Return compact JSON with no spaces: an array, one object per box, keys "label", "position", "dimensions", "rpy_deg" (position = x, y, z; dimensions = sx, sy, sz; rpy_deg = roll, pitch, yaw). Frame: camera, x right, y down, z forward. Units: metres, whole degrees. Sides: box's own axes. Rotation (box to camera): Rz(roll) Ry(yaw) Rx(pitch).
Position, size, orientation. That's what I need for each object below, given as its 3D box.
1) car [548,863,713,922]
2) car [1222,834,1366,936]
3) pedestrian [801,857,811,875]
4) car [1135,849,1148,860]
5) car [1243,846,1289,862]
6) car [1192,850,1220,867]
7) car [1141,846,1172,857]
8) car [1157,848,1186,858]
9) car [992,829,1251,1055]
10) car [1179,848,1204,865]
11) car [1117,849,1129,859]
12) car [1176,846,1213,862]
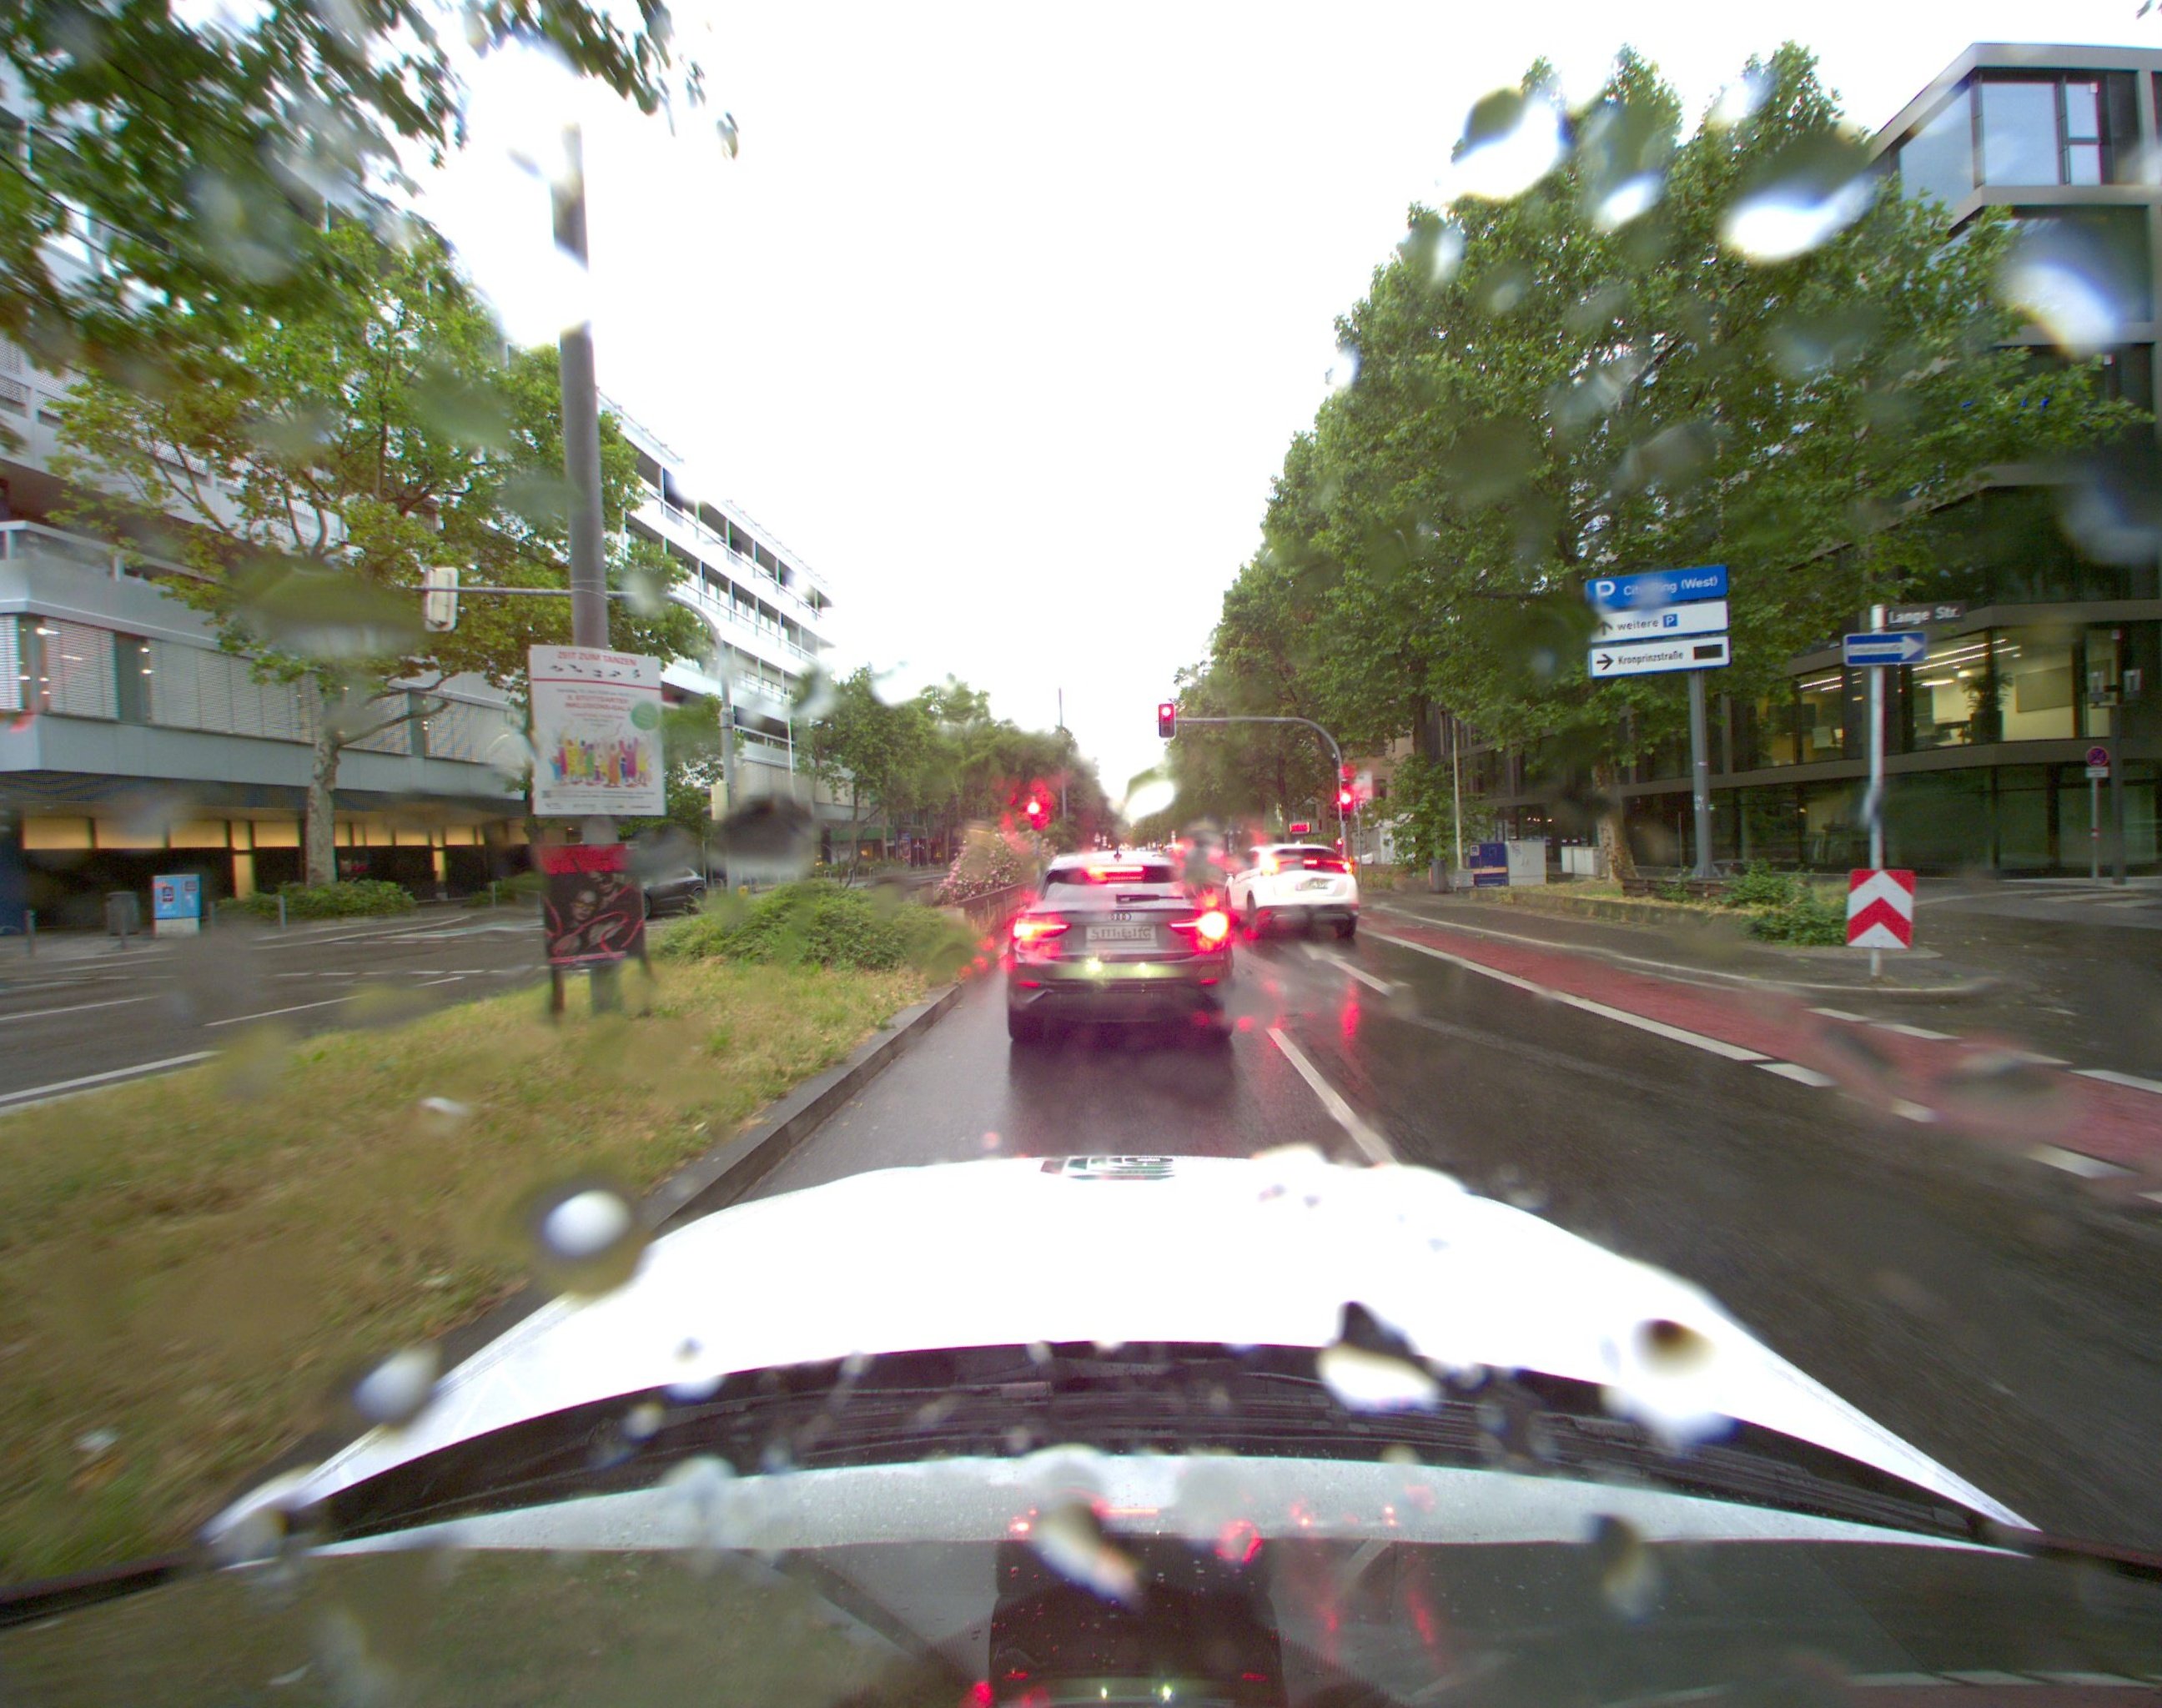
[{"label":"car","position":[-13.245,1.066,24.364],"dimensions":[1.900,1.584,4.755],"rpy_deg":[0,-1,6]},{"label":"car","position":[3.889,0.532,15.539],"dimensions":[1.870,1.697,4.003],"rpy_deg":[0,-1,3]},{"label":"pedestrian","position":[-21.551,0.950,63.795],"dimensions":[0.637,1.379,0.473],"rpy_deg":[0,-1,-9]},{"label":"car","position":[10.121,0.094,135.950],"dimensions":[1.985,1.651,4.003],"rpy_deg":[0,-1,3]},{"label":"car","position":[13.389,0.009,58.958],"dimensions":[2.856,1.074,1.465],"rpy_deg":[-1,-1,34]},{"label":"car","position":[10.520,0.391,68.985],"dimensions":[1.865,1.421,4.614],"rpy_deg":[0,0,3]},{"label":"car","position":[11.963,-0.389,129.082],"dimensions":[4.594,1.706,2.012],"rpy_deg":[-1,-1,30]},{"label":"car","position":[15.622,-0.220,140.322],"dimensions":[4.594,1.706,2.012],"rpy_deg":[-1,-1,30]},{"label":"car","position":[0.358,0.641,7.910],"dimensions":[1.842,1.602,4.002],"rpy_deg":[-1,0,2]},{"label":"car","position":[10.771,0.273,79.699],"dimensions":[1.722,1.571,4.071],"rpy_deg":[0,-1,-2]},{"label":"car","position":[6.516,0.032,126.392],"dimensions":[1.888,1.599,3.940],"rpy_deg":[0,-1,2]},{"label":"car","position":[15.228,0.043,109.326],"dimensions":[4.548,2.014,1.980],"rpy_deg":[-1,-1,41]}]
